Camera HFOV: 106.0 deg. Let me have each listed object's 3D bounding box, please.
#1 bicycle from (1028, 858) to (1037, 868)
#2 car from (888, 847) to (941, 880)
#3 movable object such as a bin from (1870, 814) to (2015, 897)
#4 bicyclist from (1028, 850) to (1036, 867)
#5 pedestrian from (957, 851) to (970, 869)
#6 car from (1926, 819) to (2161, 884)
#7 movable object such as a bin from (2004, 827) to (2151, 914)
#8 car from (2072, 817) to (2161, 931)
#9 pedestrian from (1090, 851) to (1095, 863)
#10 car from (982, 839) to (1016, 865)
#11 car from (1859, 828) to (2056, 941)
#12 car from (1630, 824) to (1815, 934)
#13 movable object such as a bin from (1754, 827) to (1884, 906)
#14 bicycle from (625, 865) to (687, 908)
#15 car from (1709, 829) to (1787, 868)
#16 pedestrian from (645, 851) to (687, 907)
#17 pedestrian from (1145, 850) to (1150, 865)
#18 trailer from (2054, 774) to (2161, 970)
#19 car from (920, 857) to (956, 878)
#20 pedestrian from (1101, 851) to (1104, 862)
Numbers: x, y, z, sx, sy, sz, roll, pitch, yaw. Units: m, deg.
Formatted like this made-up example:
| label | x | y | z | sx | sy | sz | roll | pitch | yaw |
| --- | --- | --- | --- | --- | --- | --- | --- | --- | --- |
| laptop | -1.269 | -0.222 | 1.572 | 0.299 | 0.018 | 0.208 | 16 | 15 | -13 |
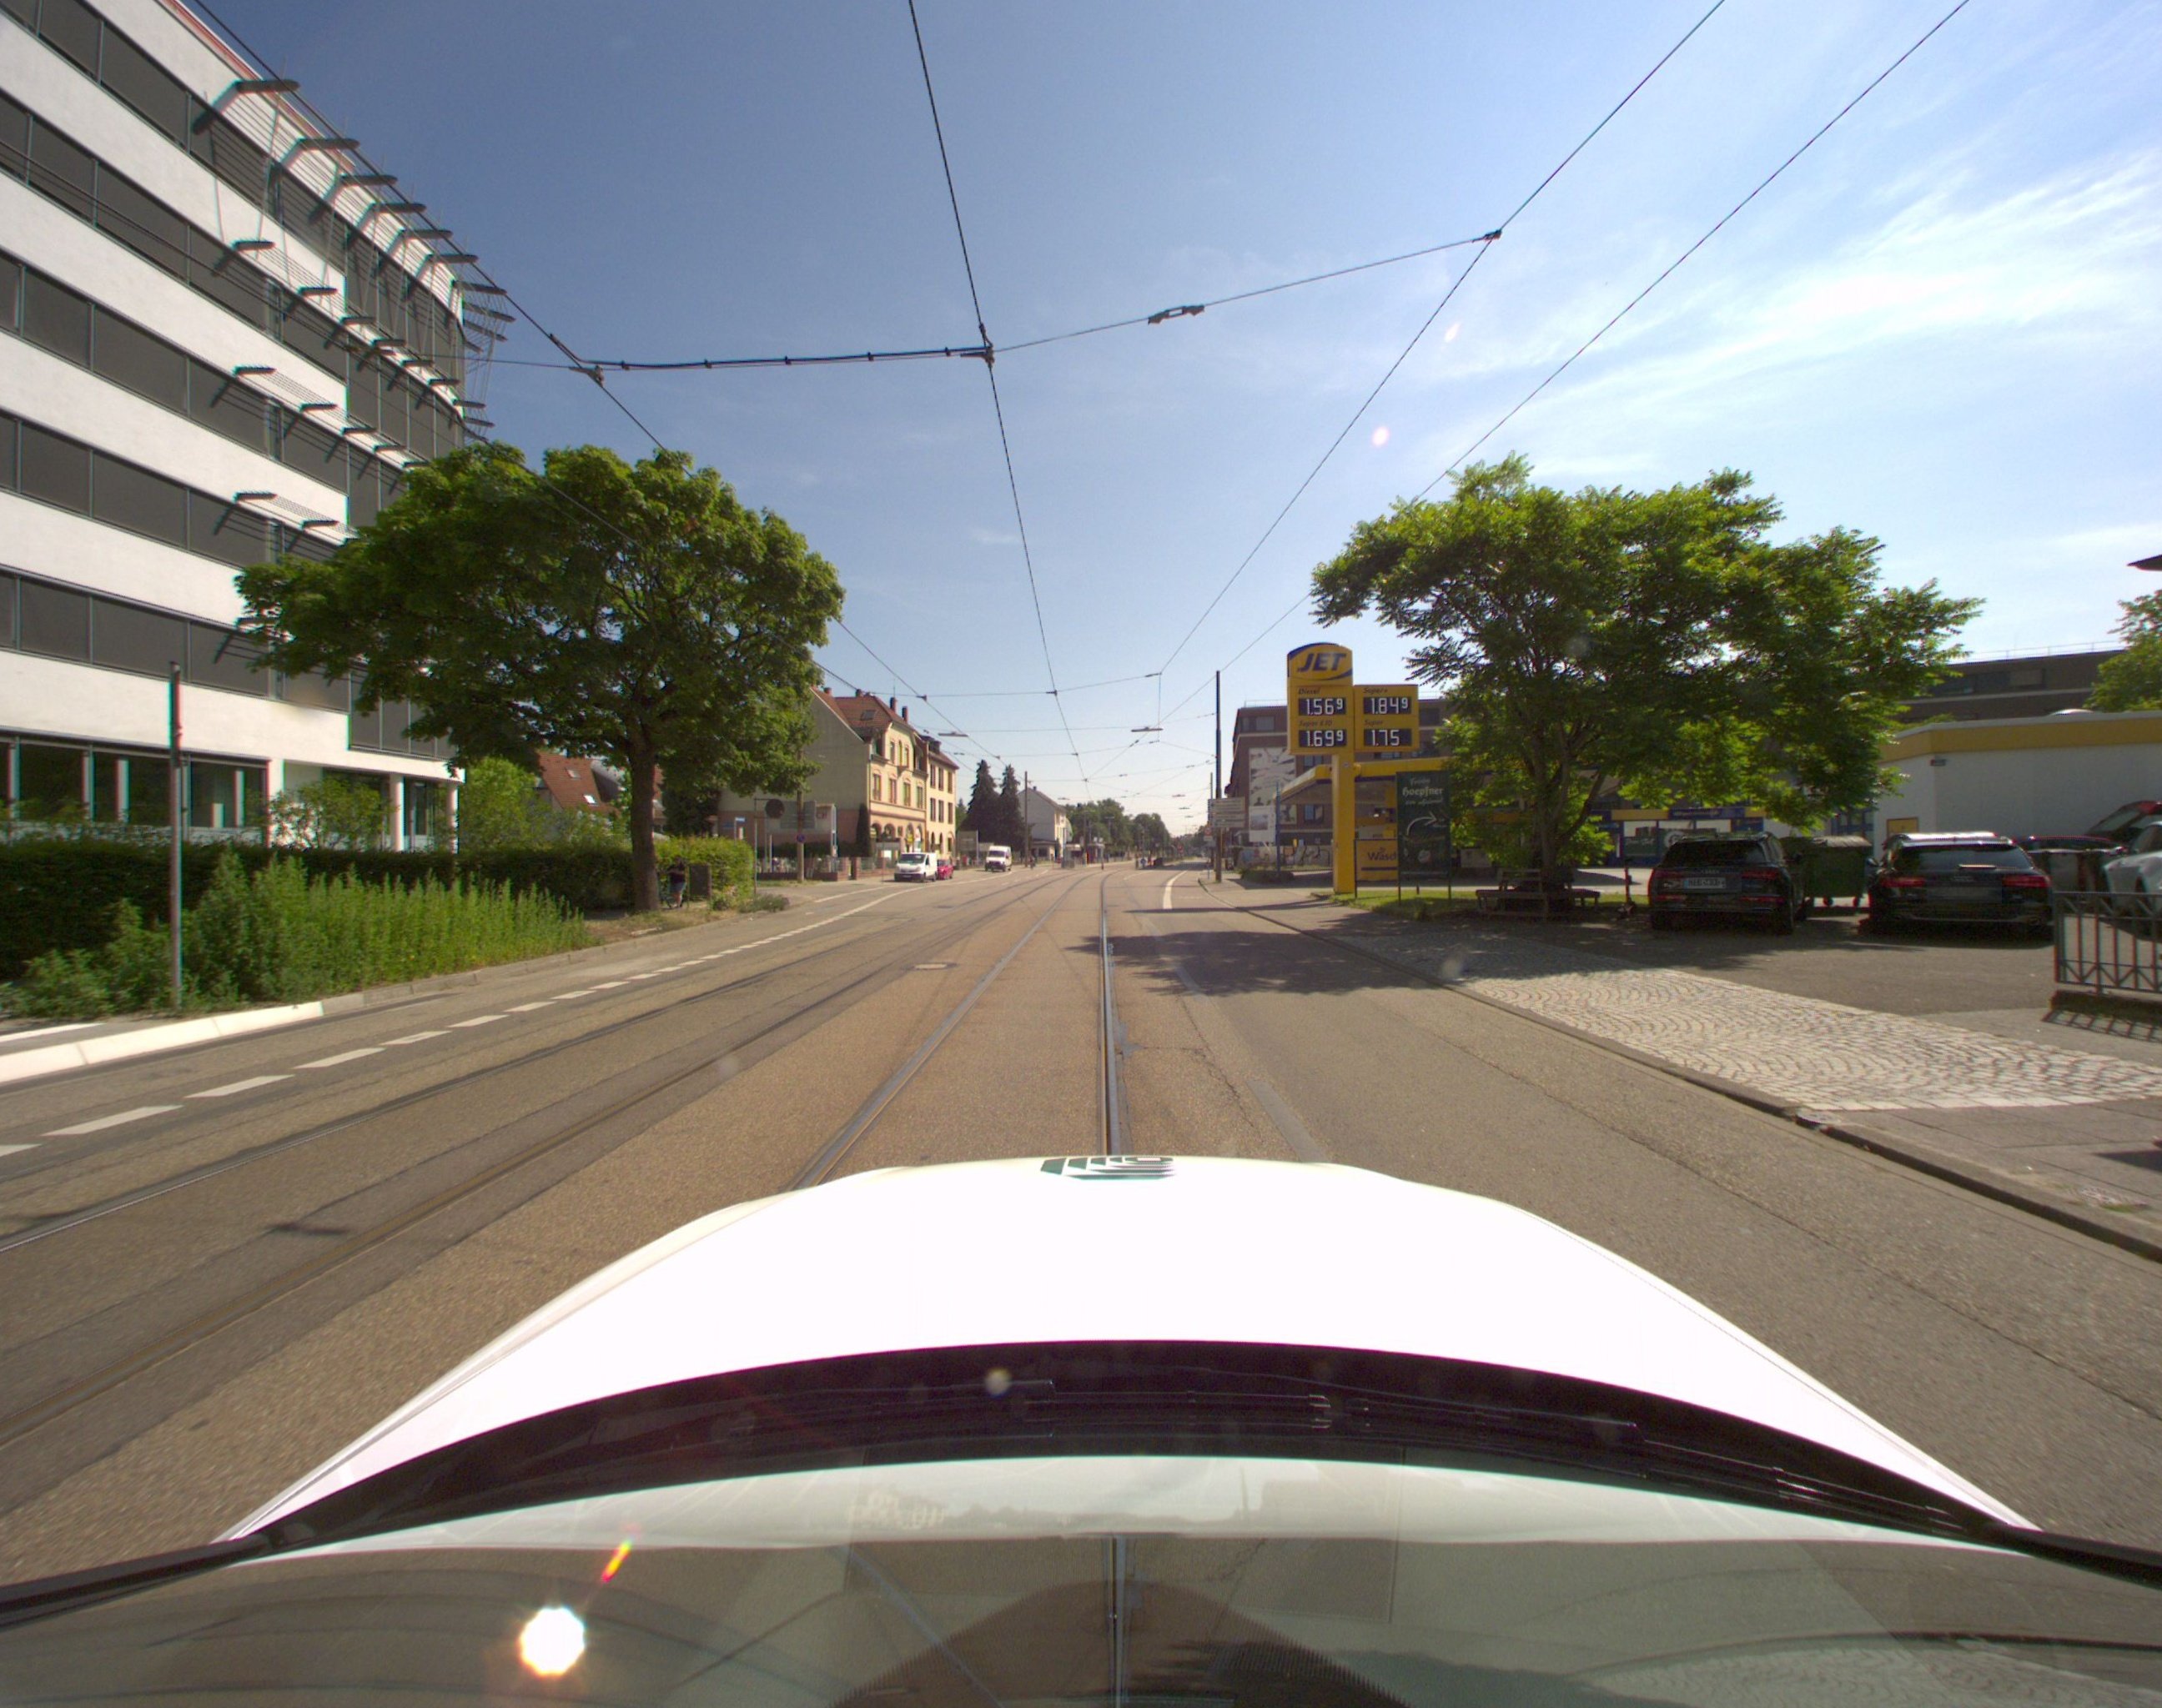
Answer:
| label | x | y | z | sx | sy | sz | roll | pitch | yaw |
| --- | --- | --- | --- | --- | --- | --- | --- | --- | --- |
| bicycle | -5.047 | 0.923 | 85.274 | 0.606 | 0.984 | 2.166 | -1 | 0 | 4 |
| car | -10.721 | 0.597 | 52.847 | 2.075 | 2.013 | 4.913 | -1 | 0 | 3 |
| movable object such as a bin | 16.411 | 0.022 | 15.588 | 1.406 | 1.502 | 1.386 | 1 | 0 | 18 |
| bicyclist | -5.169 | 0.463 | 85.258 | 0.713 | 1.724 | 0.988 | -1 | 0 | 1 |
| pedestrian | -11.580 | 0.594 | 80.027 | 0.936 | 1.815 | 1.133 | -1 | 0 | 11 |
| car | 23.858 | -0.057 | 19.596 | 4.498 | 1.460 | 1.904 | -1 | 0 | 28 |
| movable object such as a bin | 18.212 | 0.280 | 14.949 | 1.313 | 1.502 | 1.339 | -1 | 0 | 31 |
| car | 16.516 | 0.232 | 12.135 | 4.023 | 1.557 | 1.824 | -1 | 0 | -45 |
| pedestrian | 1.640 | 0.490 | 116.176 | 0.703 | 1.690 | 0.416 | -1 | 0 | 1 |
| car | -8.293 | -0.249 | 83.056 | 2.319 | 2.535 | 6.512 | -1 | 1 | 3 |
| car | 13.466 | 0.381 | 12.675 | 4.023 | 1.474 | 1.824 | -1 | 0 | -45 |
| car | 11.495 | 0.349 | 14.465 | 4.687 | 1.640 | 1.995 | -1 | 0 | -45 |
| movable object such as a bin | 14.881 | 0.244 | 16.486 | 1.411 | 1.502 | 1.381 | -1 | 0 | 5 |
| bicycle | -12.007 | 0.900 | 23.079 | 0.633 | 1.117 | 2.067 | -1 | 0 | 1 |
| car | 36.055 | -0.288 | 44.167 | 1.740 | 1.982 | 5.336 | -1 | 0 | 22 |
| pedestrian | -11.773 | 0.690 | 23.111 | 0.684 | 1.563 | 0.987 | 1 | 0 | -3 |
| pedestrian | 7.992 | 0.442 | 97.521 | 0.553 | 1.760 | 0.794 | -1 | 0 | 3 |
| trailer | 10.464 | 0.117 | 6.491 | 3.260 | 1.603 | 1.725 | -1 | 0 | 3 |
| car | -10.338 | 0.931 | 59.063 | 1.713 | 1.406 | 4.004 | -1 | 0 | 3 |
| pedestrian | 3.317 | 0.456 | 126.930 | 0.414 | 1.690 | 0.706 | -1 | 0 | -5 |
